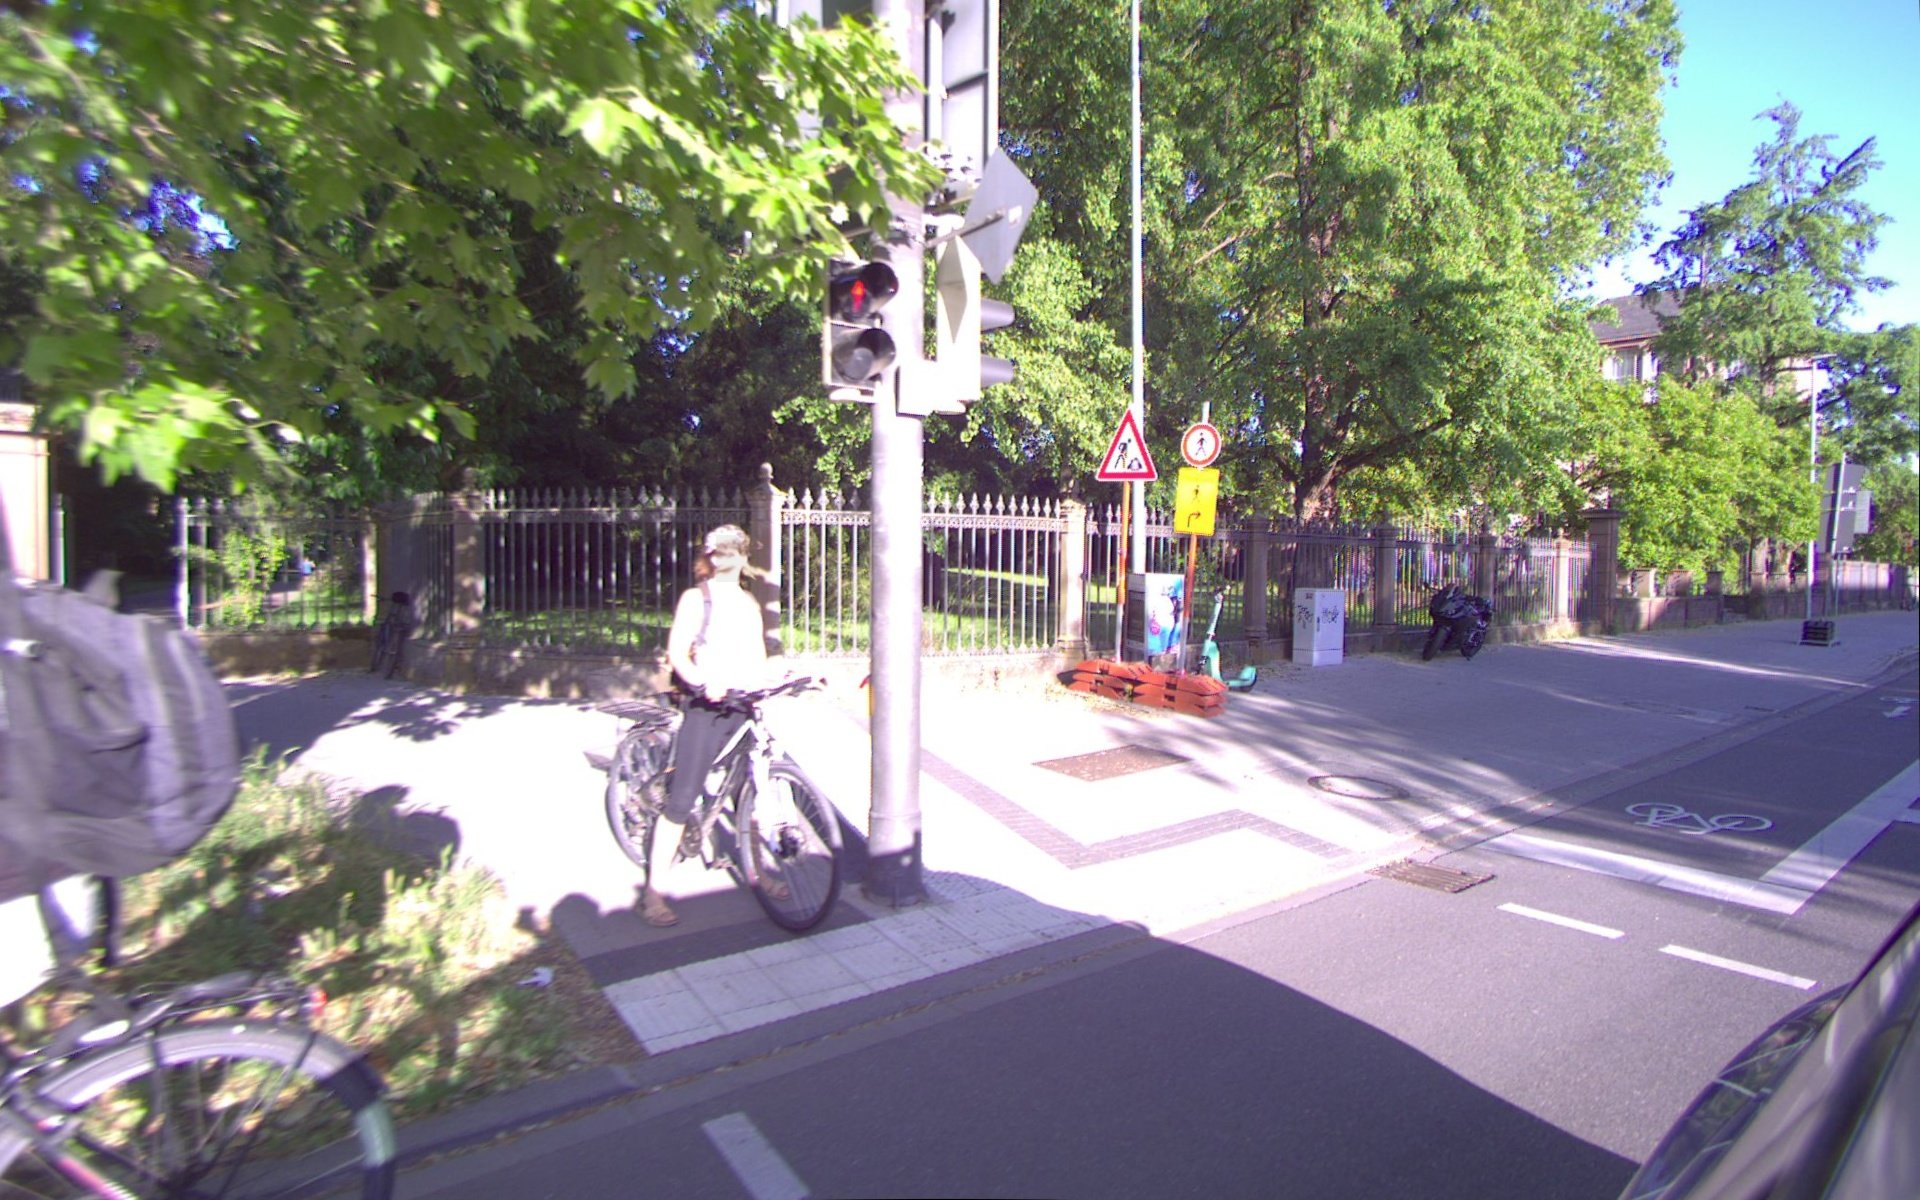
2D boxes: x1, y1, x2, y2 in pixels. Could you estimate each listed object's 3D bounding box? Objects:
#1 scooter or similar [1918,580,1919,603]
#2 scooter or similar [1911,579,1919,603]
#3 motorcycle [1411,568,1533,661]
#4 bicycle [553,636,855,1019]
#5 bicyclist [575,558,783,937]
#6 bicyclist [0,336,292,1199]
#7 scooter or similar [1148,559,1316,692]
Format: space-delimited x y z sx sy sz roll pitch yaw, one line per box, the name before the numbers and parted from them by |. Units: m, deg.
scooter or similar | 44.504 -0.416 46.579 1.747 1.054 0.416 -1 0 -40
scooter or similar | 42.791 -0.404 45.093 1.747 1.054 0.416 -1 0 -40
motorcycle | 7.782 0.173 15.358 2.002 1.309 0.906 -1 2 -40
bicycle | -1.206 0.791 4.367 0.682 1.109 1.993 0 2 -32
bicyclist | -1.241 0.555 4.408 0.682 1.465 0.768 0 2 -32
bicyclist | -1.558 0.413 1.478 0.877 1.520 0.694 -1 2 -43
scooter or similar | 2.966 0.232 10.973 1.804 1.269 0.794 -1 6 -40
